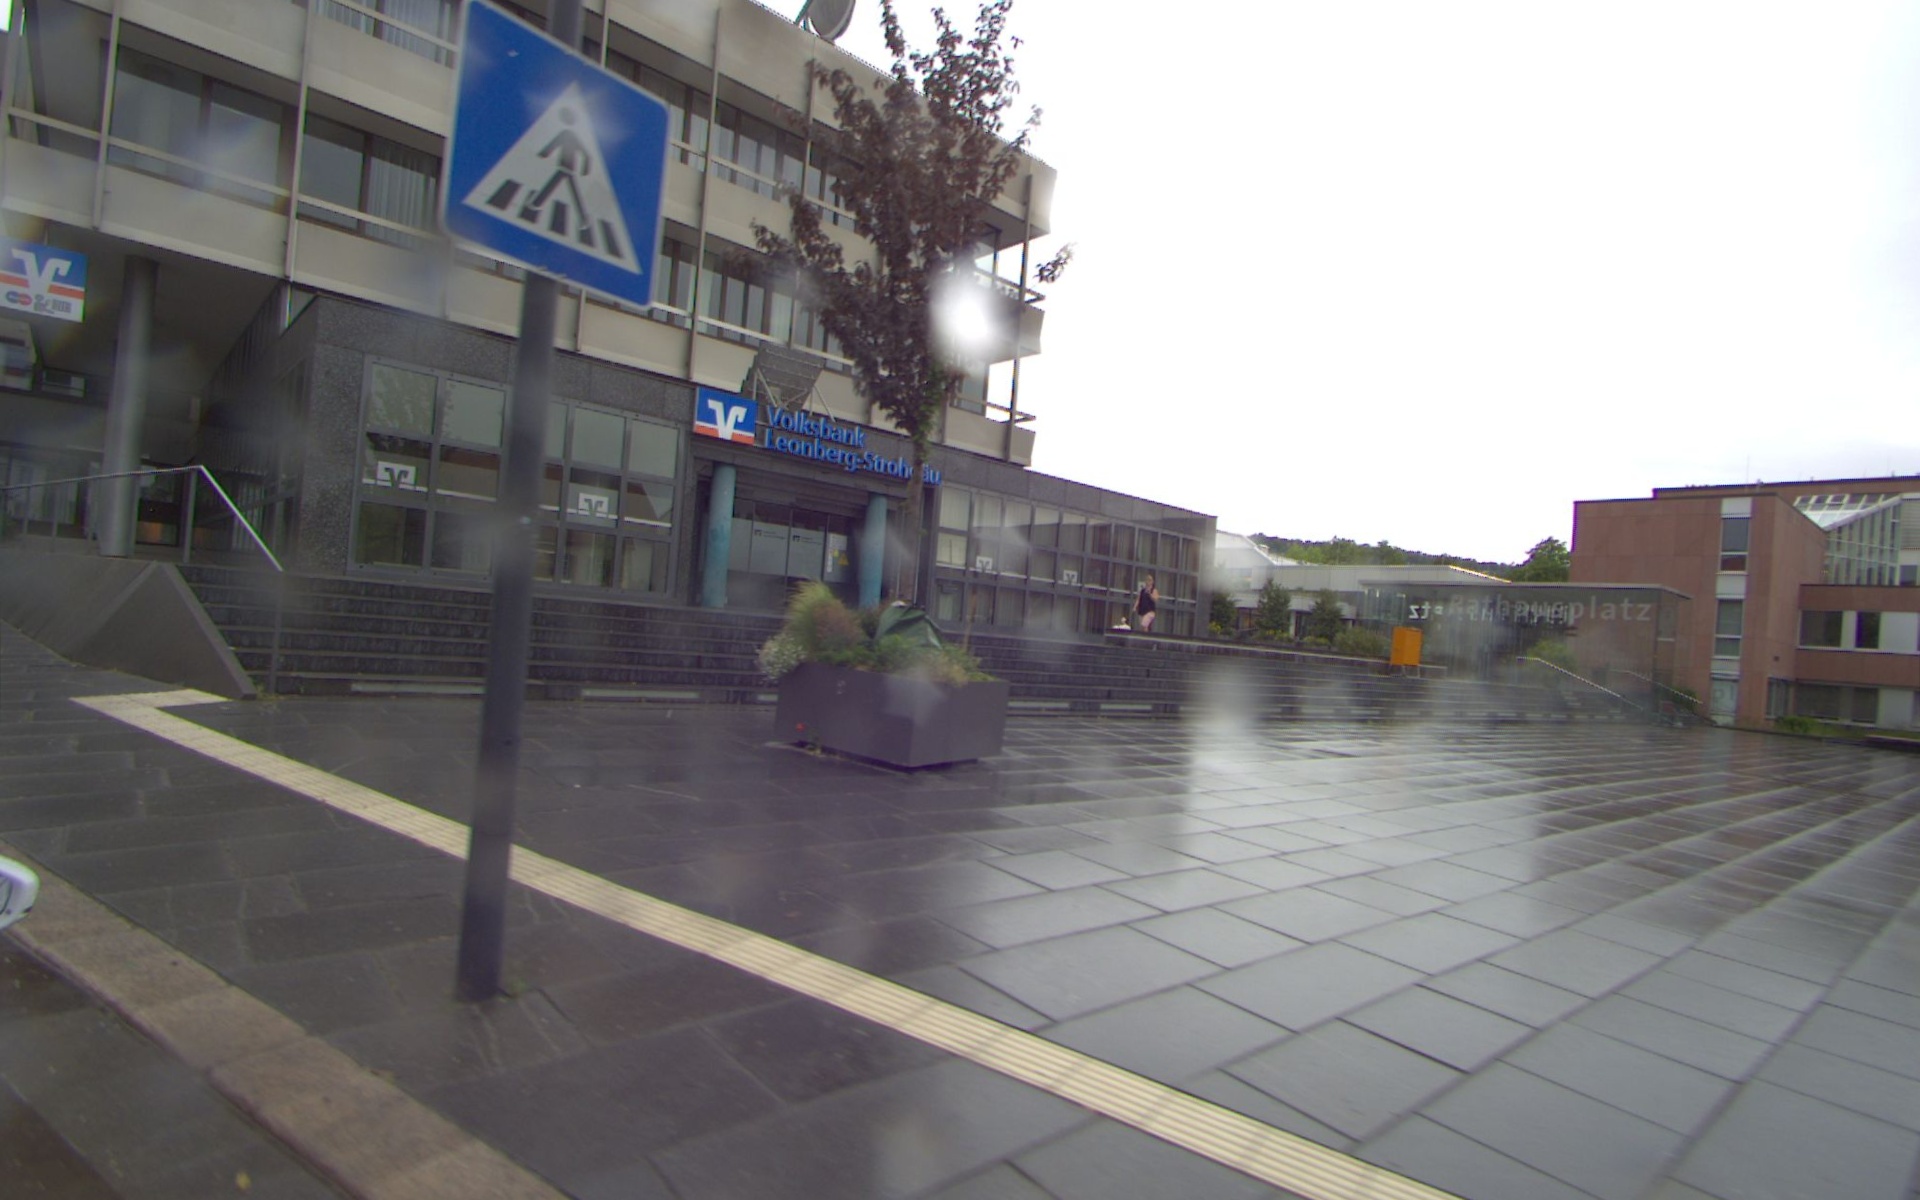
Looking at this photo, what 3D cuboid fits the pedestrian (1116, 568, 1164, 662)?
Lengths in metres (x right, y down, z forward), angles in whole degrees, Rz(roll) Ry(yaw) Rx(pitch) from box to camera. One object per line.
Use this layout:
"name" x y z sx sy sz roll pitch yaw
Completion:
"pedestrian" 4.316 0.358 24.119 0.753 2.174 0.652 4 1 -36
